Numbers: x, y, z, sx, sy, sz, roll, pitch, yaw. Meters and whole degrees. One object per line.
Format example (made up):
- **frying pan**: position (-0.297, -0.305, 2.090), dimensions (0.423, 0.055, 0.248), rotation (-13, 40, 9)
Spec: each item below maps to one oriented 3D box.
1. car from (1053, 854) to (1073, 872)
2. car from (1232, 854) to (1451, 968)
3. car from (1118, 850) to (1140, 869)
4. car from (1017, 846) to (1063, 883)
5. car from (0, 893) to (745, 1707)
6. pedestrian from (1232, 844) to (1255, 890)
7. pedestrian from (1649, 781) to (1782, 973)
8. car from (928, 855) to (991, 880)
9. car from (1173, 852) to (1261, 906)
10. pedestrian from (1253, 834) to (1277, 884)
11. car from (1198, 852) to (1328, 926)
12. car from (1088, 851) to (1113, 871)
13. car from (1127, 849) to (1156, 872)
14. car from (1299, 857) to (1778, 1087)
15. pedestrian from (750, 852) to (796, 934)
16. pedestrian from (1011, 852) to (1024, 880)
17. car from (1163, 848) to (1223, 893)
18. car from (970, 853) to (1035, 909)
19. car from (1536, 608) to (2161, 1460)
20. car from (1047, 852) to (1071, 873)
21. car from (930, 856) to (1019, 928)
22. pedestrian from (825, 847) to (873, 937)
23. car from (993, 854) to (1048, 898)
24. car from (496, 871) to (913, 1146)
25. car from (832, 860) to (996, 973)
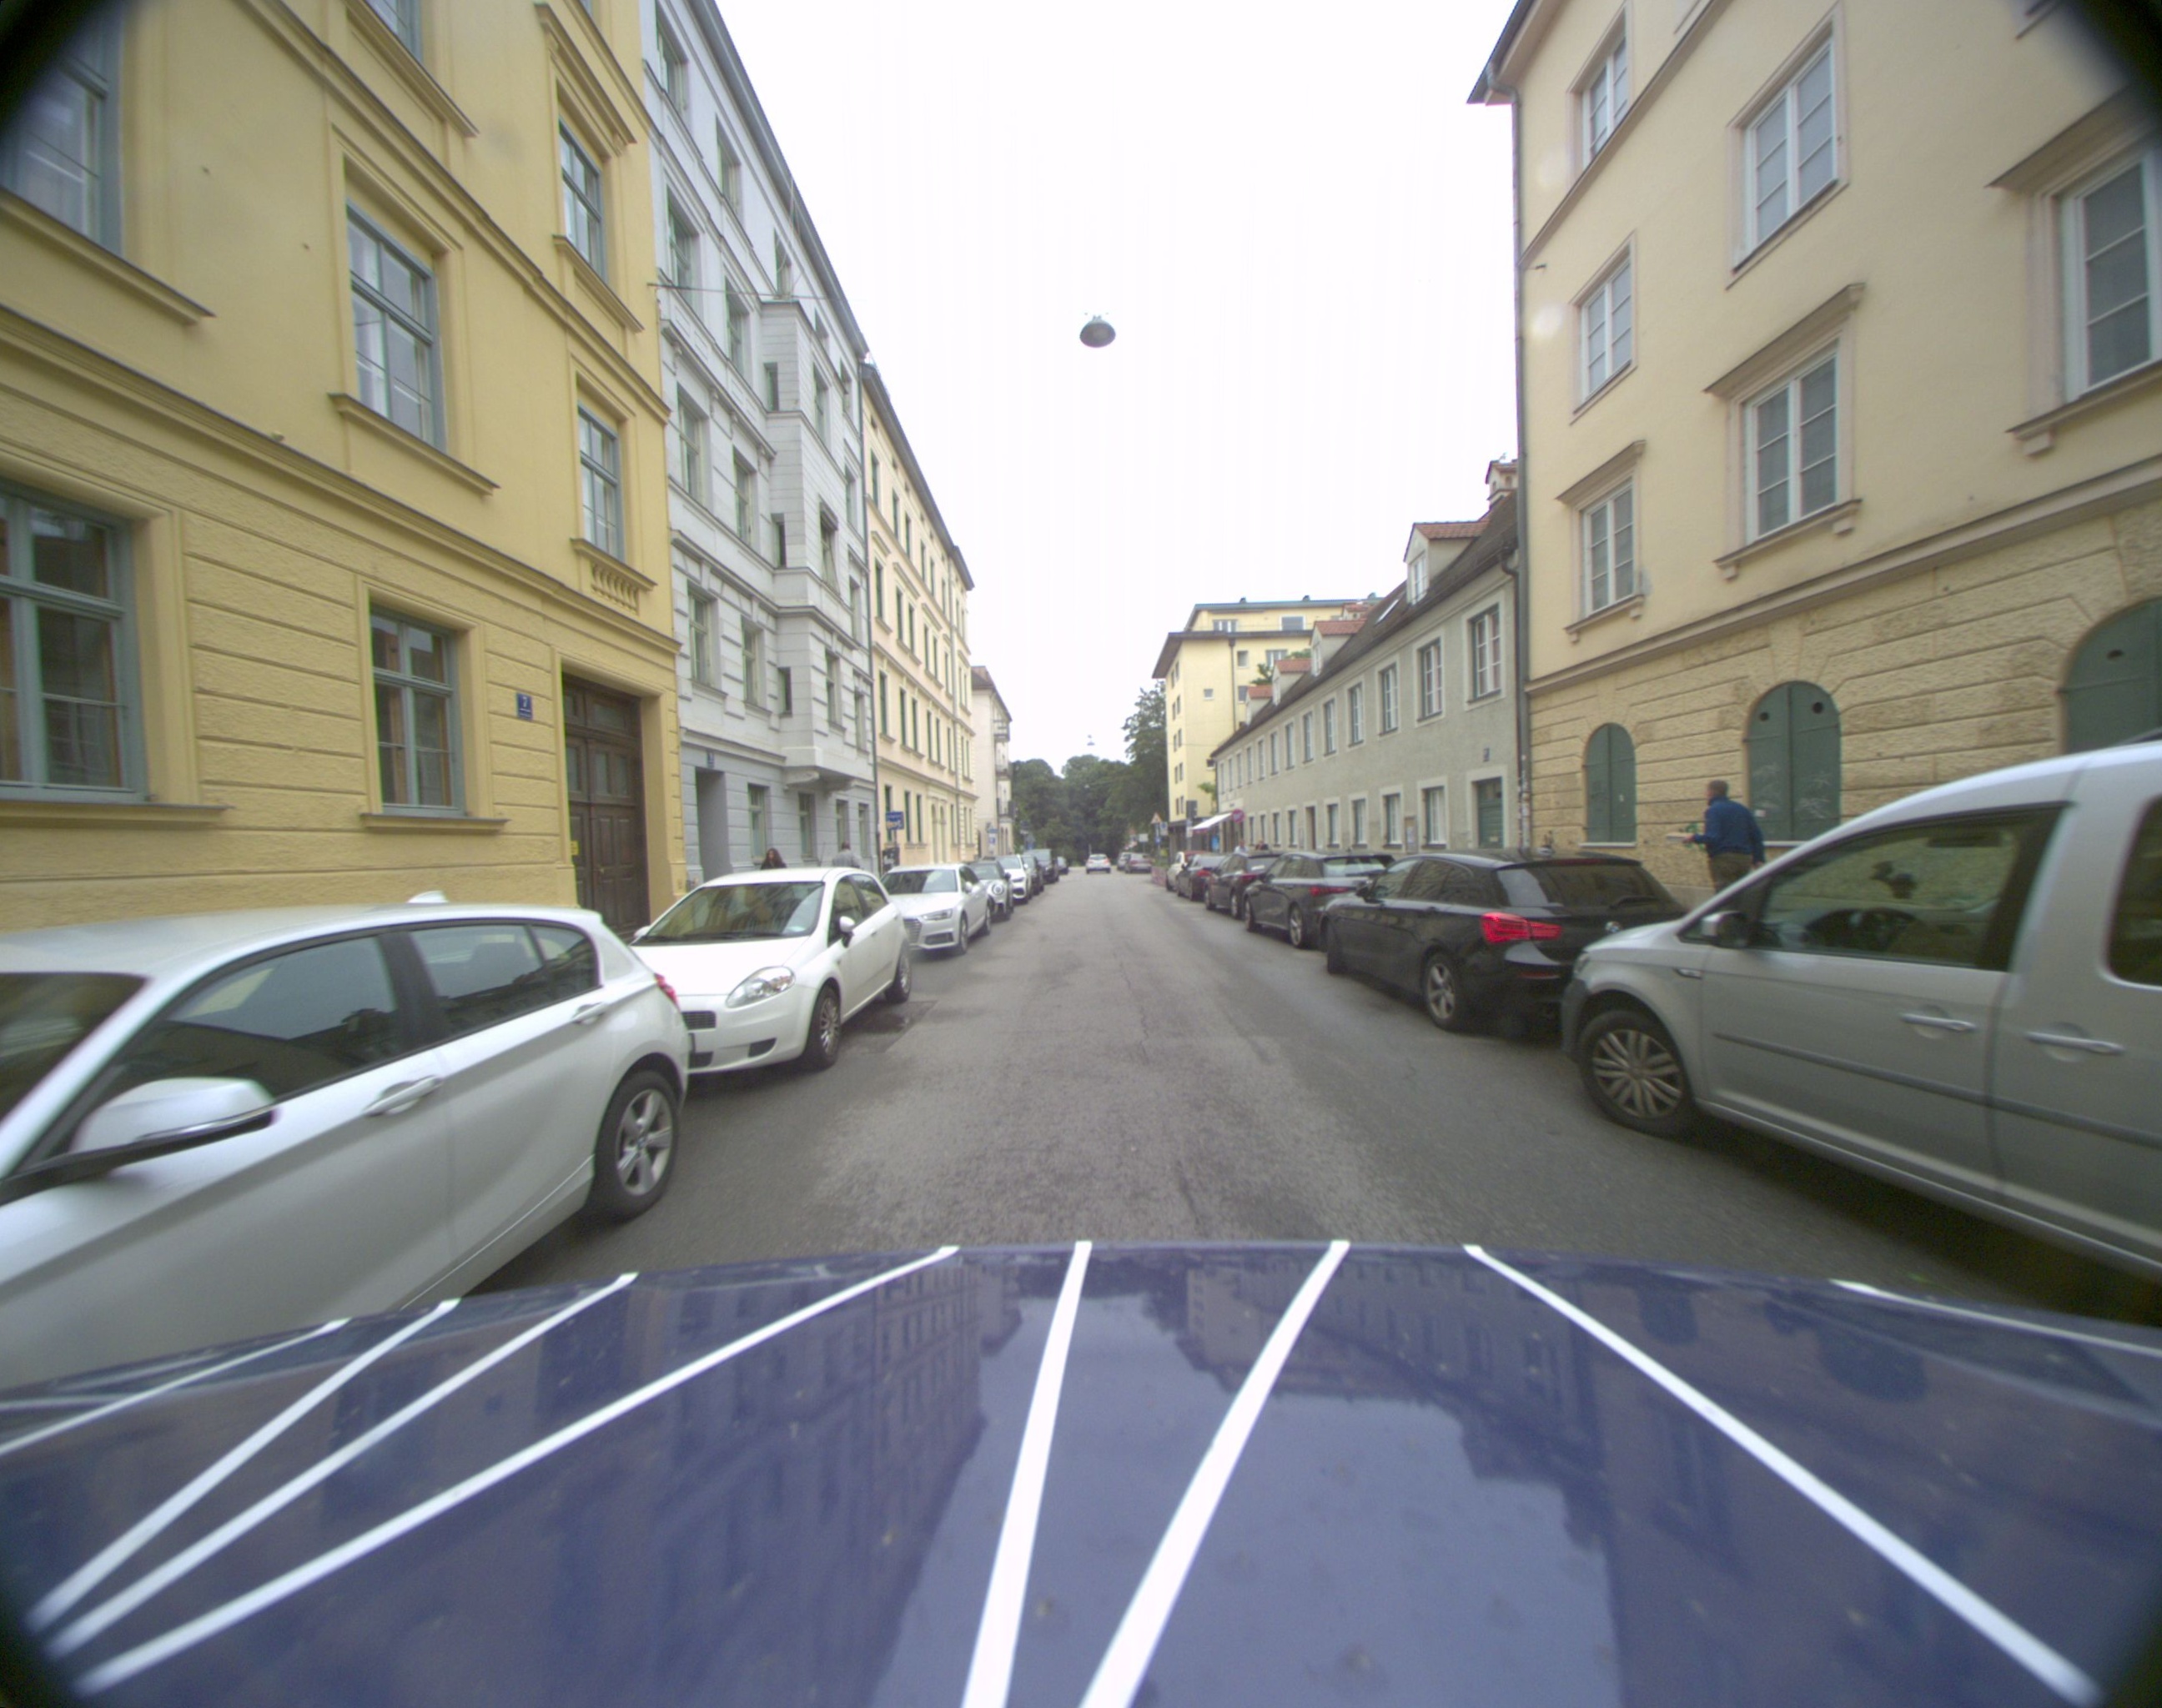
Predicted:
- **car**: position (-1.678, 0.814, 71.152), dimensions (1.711, 1.491, 3.999), rotation (-2, 1, 0)
- **car**: position (3.888, 0.753, 12.210), dimensions (1.862, 1.393, 4.268), rotation (-3, 1, -2)
- **car**: position (4.241, 0.454, 67.603), dimensions (1.711, 1.550, 3.999), rotation (-2, 1, 0)
- **car**: position (-2.148, 0.530, 41.520), dimensions (1.998, 1.850, 5.114), rotation (-2, 1, 2)
- **car**: position (-2.792, 1.015, 1.989), dimensions (1.821, 1.501, 4.586), rotation (-2, 1, -1)
- **pedestrian**: position (5.637, 0.443, 26.359), dimensions (0.614, 1.589, 0.662), rotation (-2, 1, -3)
- **pedestrian**: position (6.958, 0.241, 8.369), dimensions (0.807, 2.002, 0.750), rotation (-2, 1, 2)
- **car**: position (-8.256, 0.907, 51.864), dimensions (3.998, 1.557, 1.712), rotation (-2, 1, -2)
- **car**: position (4.012, 0.690, 23.118), dimensions (1.862, 1.393, 4.269), rotation (-3, 1, 0)
- **pedestrian**: position (6.431, 0.170, 26.533), dimensions (0.582, 1.689, 0.806), rotation (-2, 1, -3)
- **car**: position (4.006, 0.700, 17.471), dimensions (1.862, 1.393, 4.268), rotation (-3, 1, -1)
- **car**: position (1.415, 0.504, 56.956), dimensions (1.793, 1.409, 3.905), rotation (-1, 1, 0)
- **car**: position (4.245, 0.432, 53.668), dimensions (1.711, 1.491, 3.999), rotation (-2, 1, 0)
- **car**: position (3.652, 0.789, 7.167), dimensions (1.862, 1.393, 4.268), rotation (-3, 1, -1)
- **pedestrian**: position (-6.081, 0.754, 15.027), dimensions (0.646, 1.566, 0.625), rotation (1, 1, 2)
- **pedestrian**: position (-4.117, 0.781, 49.396), dimensions (0.698, 1.792, 0.730), rotation (-2, 1, 0)
- **car**: position (4.153, 0.575, 28.648), dimensions (1.573, 1.506, 3.422), rotation (-3, 1, -2)
- **car**: position (-2.489, 0.810, 25.056), dimensions (1.721, 1.592, 4.322), rotation (-2, 1, -1)
- **car**: position (3.678, 0.436, 2.032), dimensions (1.863, 2.189, 4.559), rotation (-3, 1, -5)
- **car**: position (-1.695, 0.661, 59.445), dimensions (1.711, 1.491, 3.999), rotation (-2, 1, 0)
- **car**: position (-2.513, 0.851, 18.745), dimensions (1.721, 1.501, 3.935), rotation (-2, 1, -2)
- **pedestrian**: position (-4.969, 0.796, 16.312), dimensions (0.703, 1.852, 0.805), rotation (-2, 1, -1)
- **car**: position (-2.314, 0.806, 30.096), dimensions (1.721, 1.557, 4.142), rotation (-2, 1, 1)
- **car**: position (-2.677, 0.970, 6.454), dimensions (1.627, 1.501, 3.761), rotation (-2, 1, 0)
- **car**: position (-2.621, 0.908, 13.040), dimensions (1.721, 1.501, 4.468), rotation (-2, 1, 1)
